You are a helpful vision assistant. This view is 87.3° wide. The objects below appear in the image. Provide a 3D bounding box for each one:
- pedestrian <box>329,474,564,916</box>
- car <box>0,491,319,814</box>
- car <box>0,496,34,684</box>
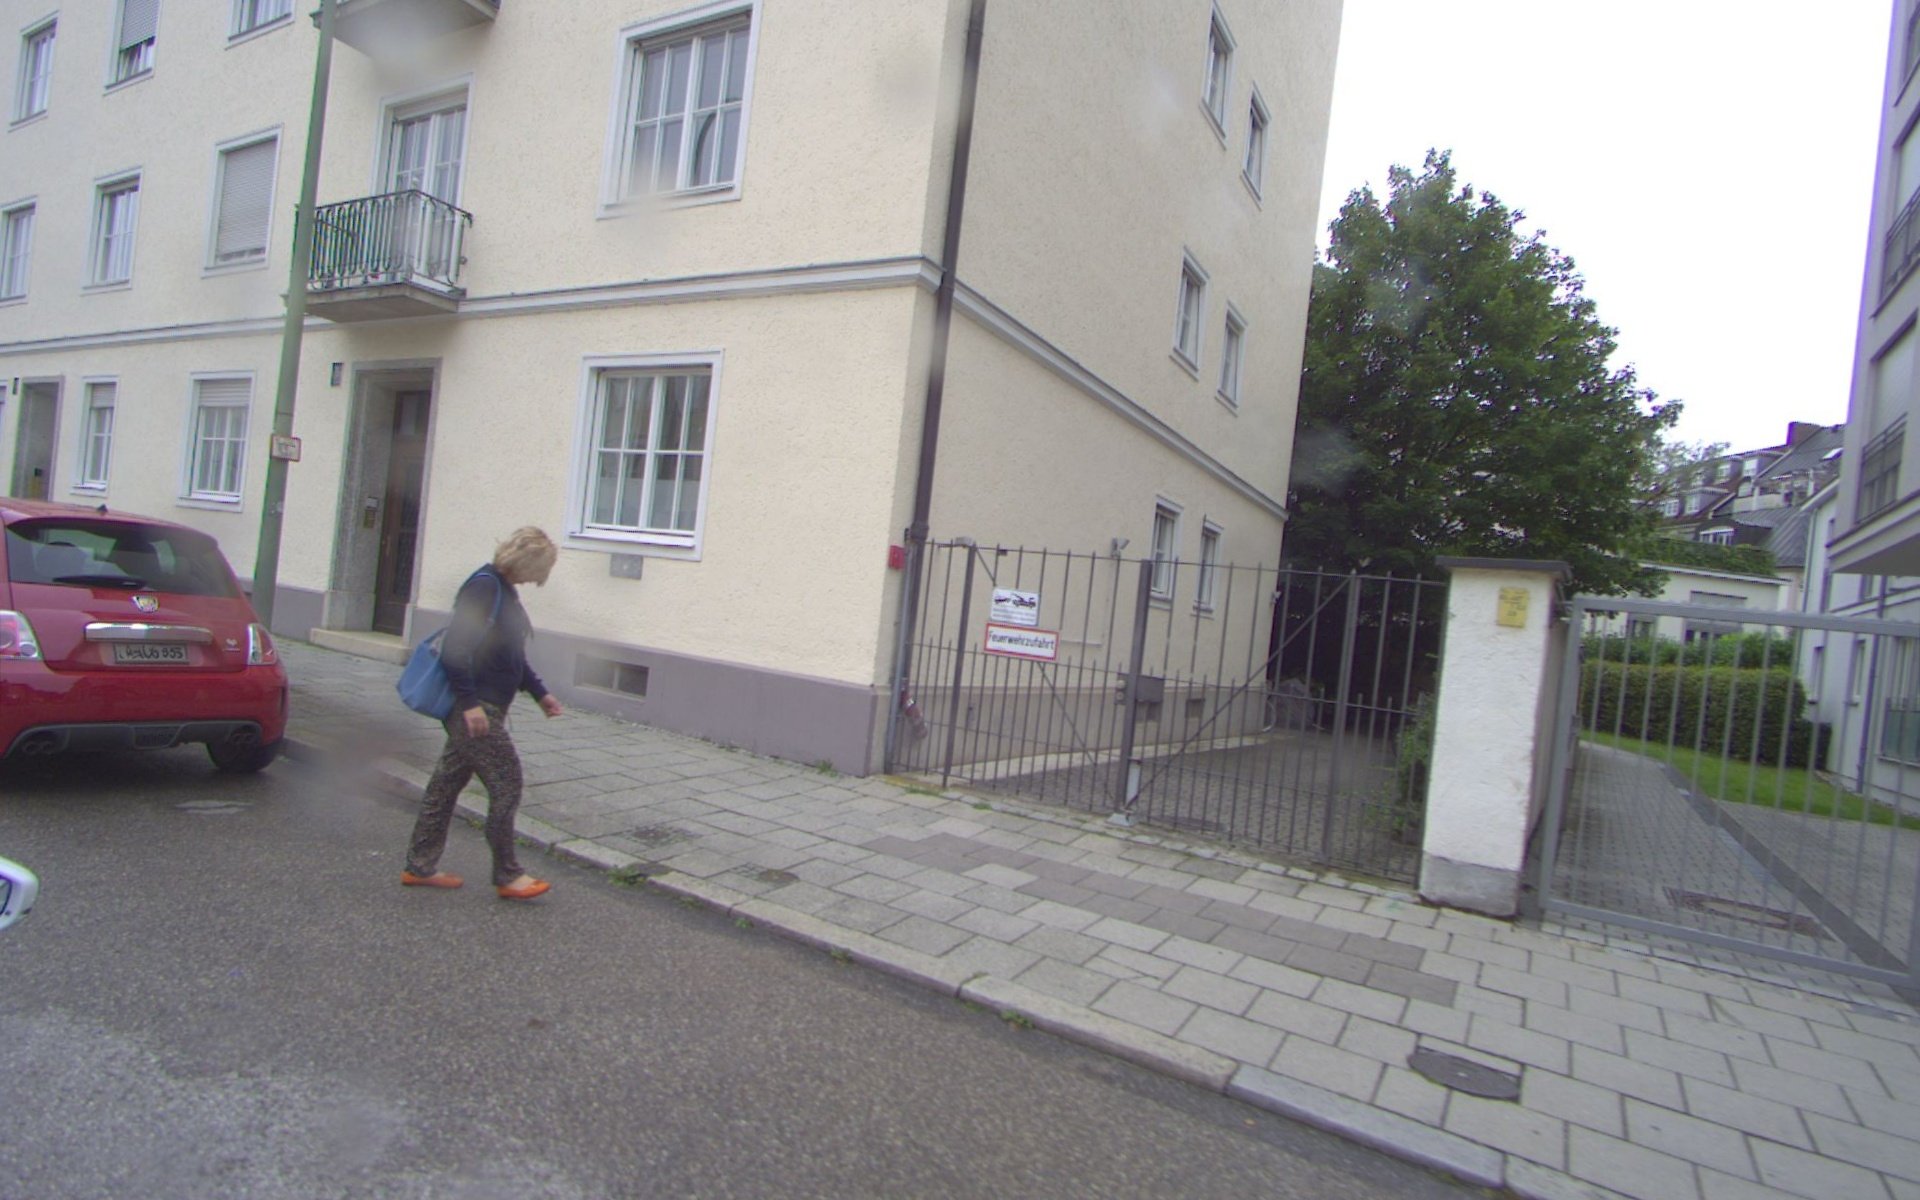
[{"bbox_3d":[-2.288,0.406,4.474,0.666,1.747,0.790,8,-2,-31],"label":"pedestrian"},{"bbox_3d":[-5.864,0.113,6.236,3.737,1.527,1.598,7,0,31],"label":"car"},{"bbox_3d":[-9.881,-0.344,8.536,4.269,1.510,1.695,7,0,30],"label":"car"}]
